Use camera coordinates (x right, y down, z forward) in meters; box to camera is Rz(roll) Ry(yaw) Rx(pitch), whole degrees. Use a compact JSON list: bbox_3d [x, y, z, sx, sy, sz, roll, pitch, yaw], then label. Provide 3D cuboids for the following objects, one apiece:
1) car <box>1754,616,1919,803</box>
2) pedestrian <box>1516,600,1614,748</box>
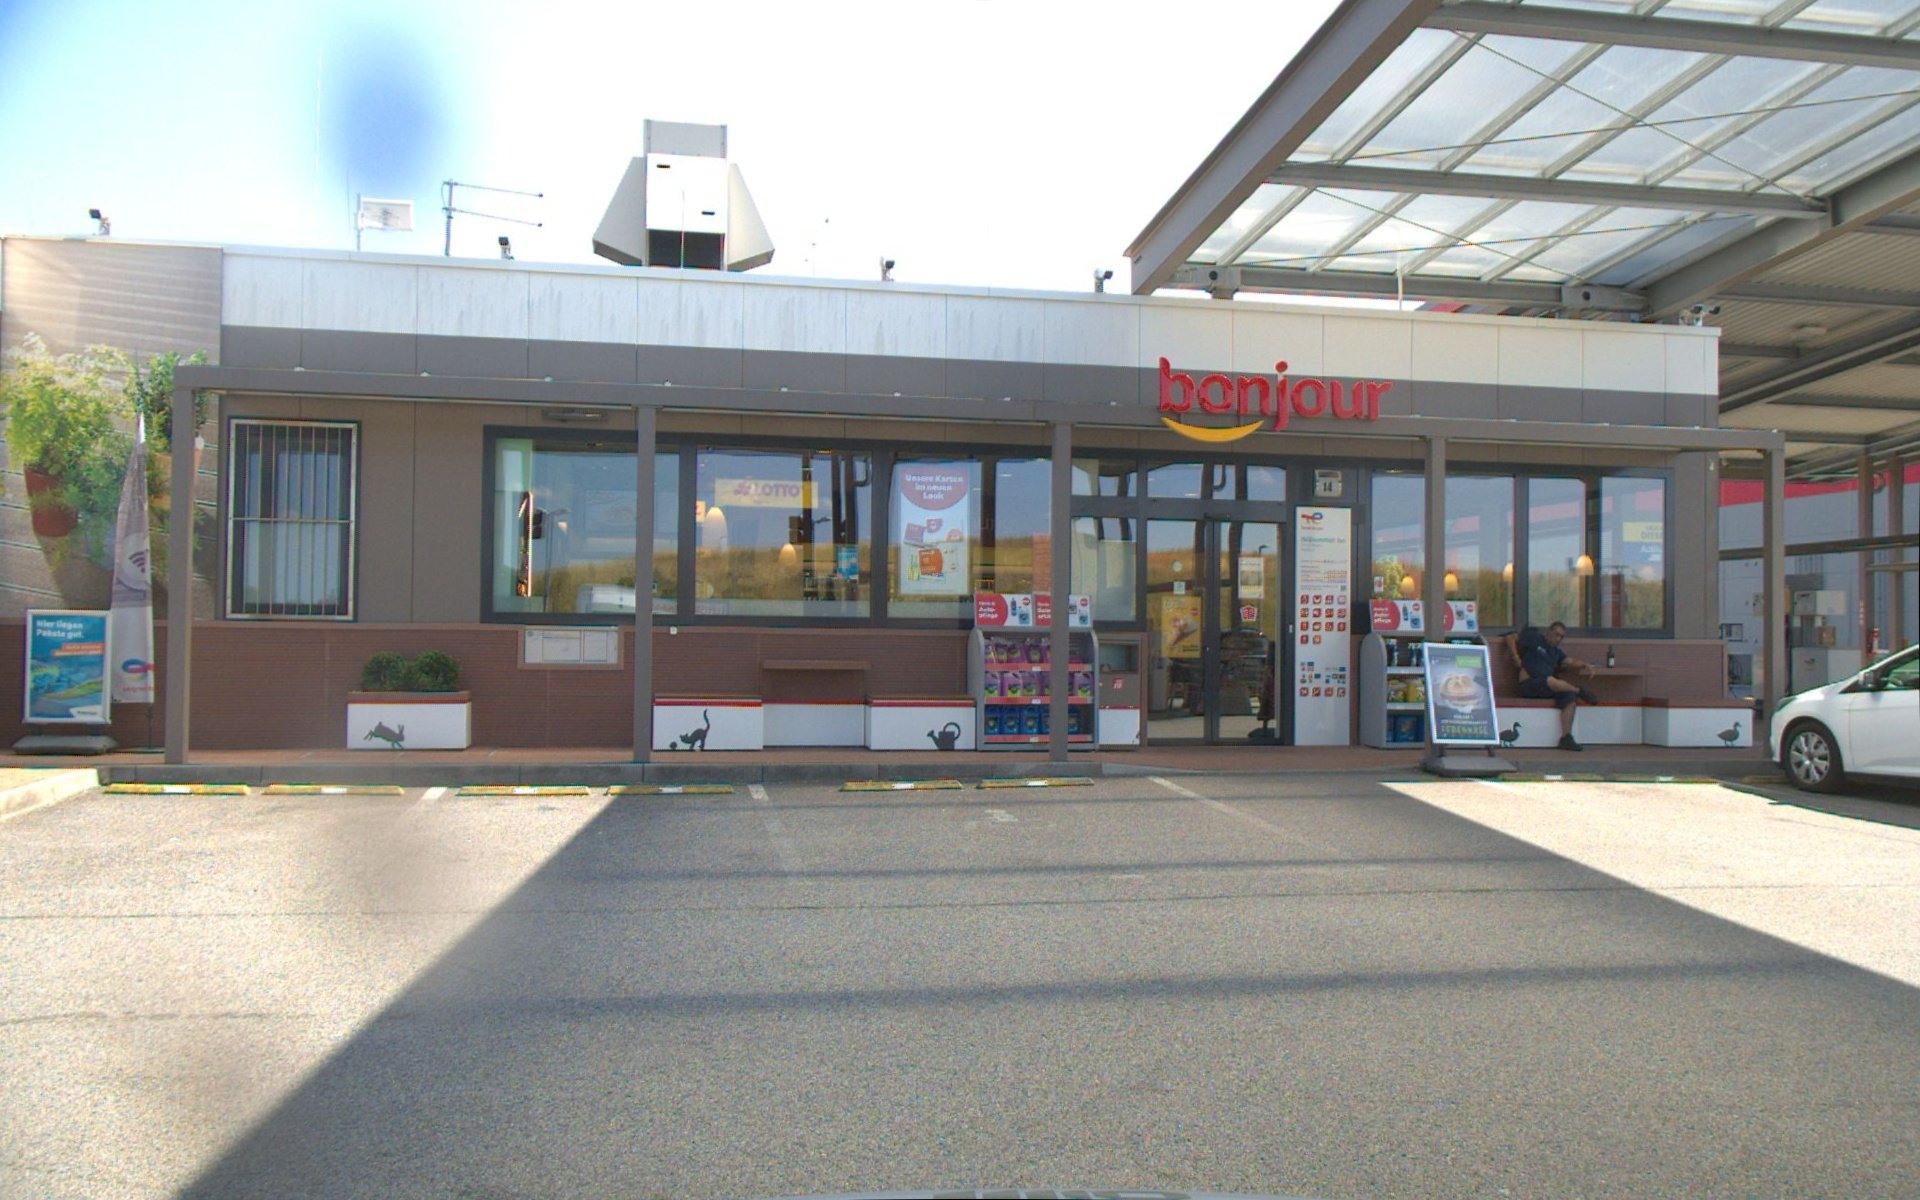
[{"bbox_3d":[8.602,0.882,13.060,1.801,1.482,4.300,1,0,-17],"label":"car"},{"bbox_3d":[6.112,0.732,16.726,0.689,1.457,0.670,1,-1,-12],"label":"pedestrian"}]
